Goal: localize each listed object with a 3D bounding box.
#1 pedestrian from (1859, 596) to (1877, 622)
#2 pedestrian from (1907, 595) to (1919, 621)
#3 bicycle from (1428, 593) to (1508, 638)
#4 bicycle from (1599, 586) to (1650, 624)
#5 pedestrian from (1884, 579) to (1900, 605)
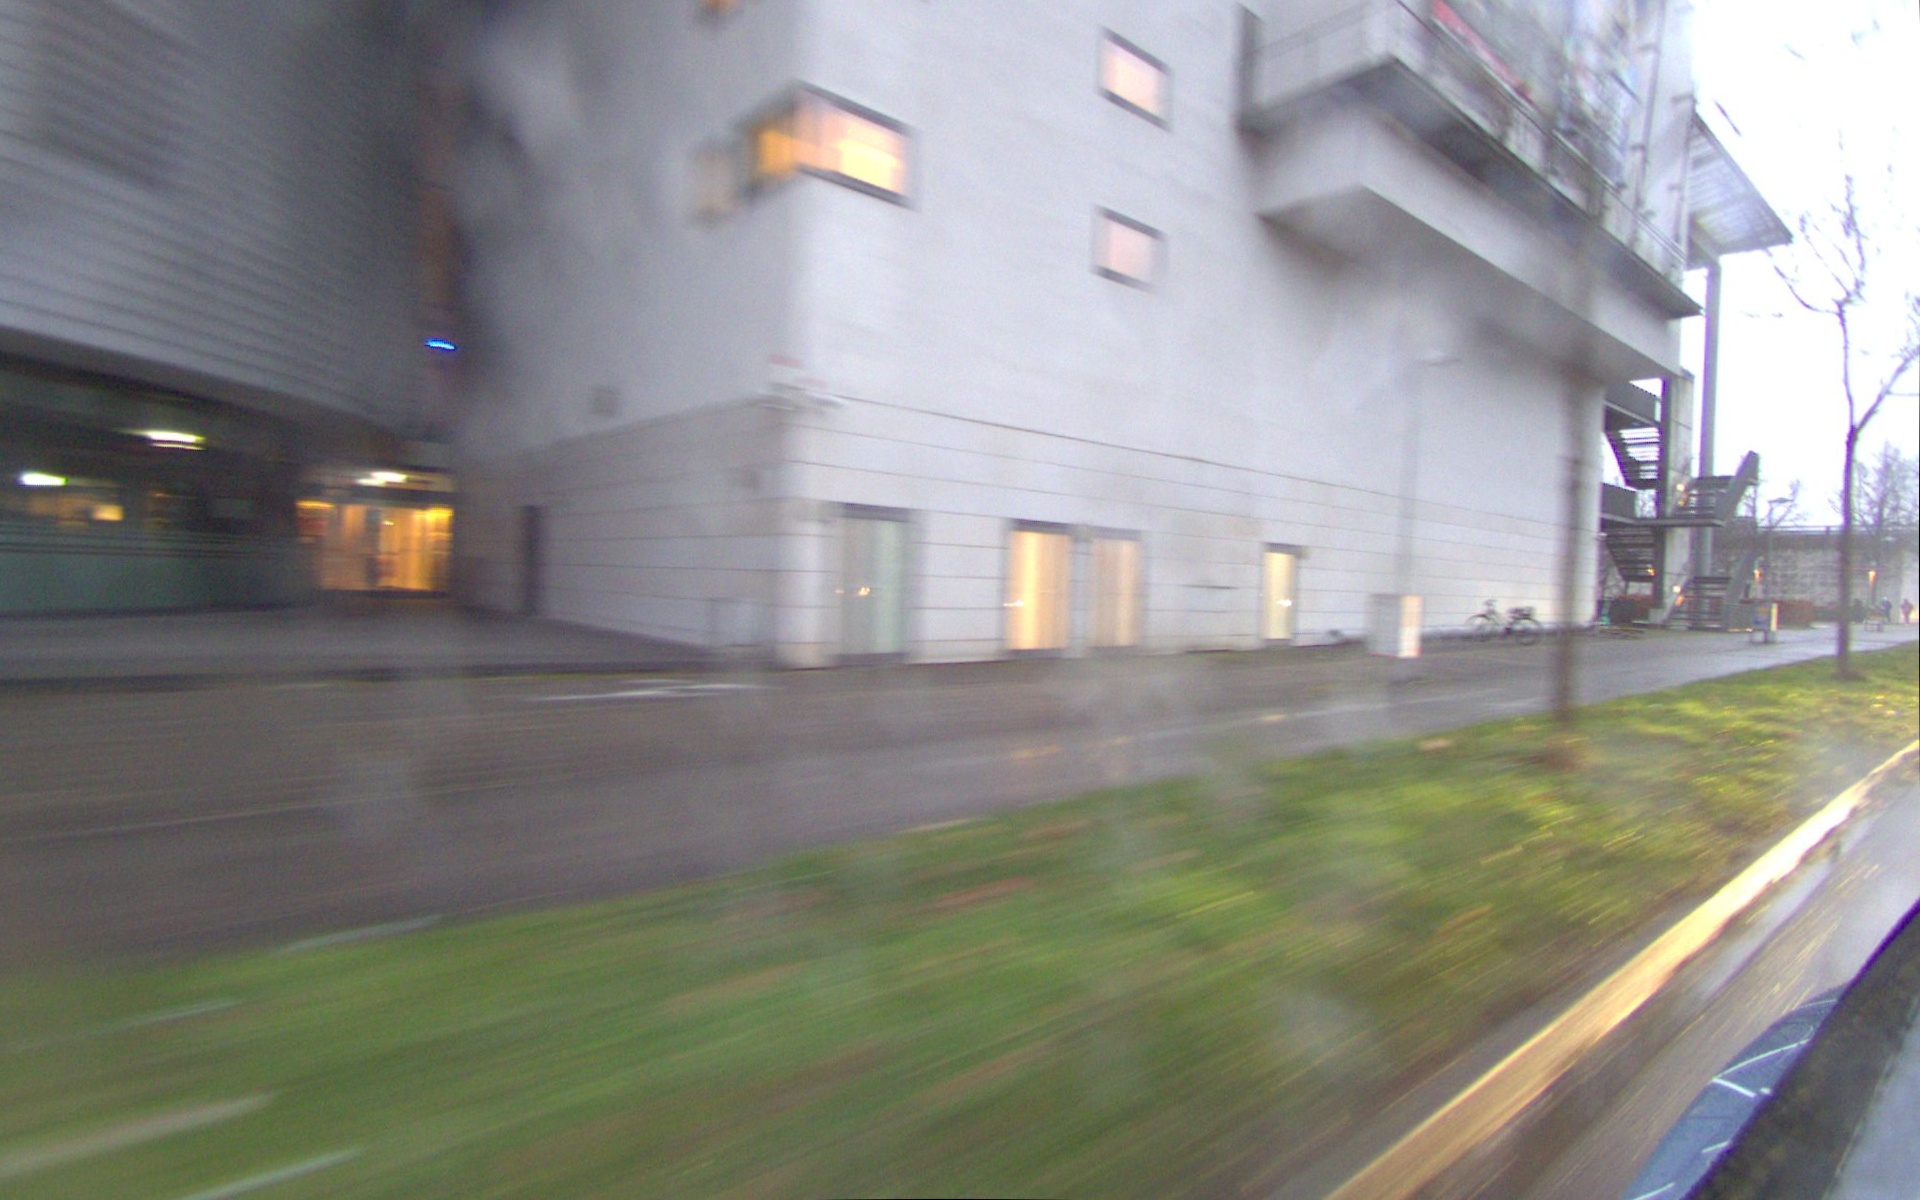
[{"bbox_3d":[57.525,0.575,64.136,0.601,1.646,0.676,0,-1,-26],"label":"pedestrian"},{"bbox_3d":[60.276,0.475,63.804,0.602,1.632,0.676,0,-1,-27],"label":"pedestrian"},{"bbox_3d":[13.179,0.396,26.321,0.390,1.065,1.811,1,2,-42],"label":"bicycle"},{"bbox_3d":[22.796,0.162,34.735,1.707,1.301,0.412,0,-1,-14],"label":"bicycle"},{"bbox_3d":[63.214,-0.547,68.641,0.602,1.800,0.676,0,-1,-27],"label":"pedestrian"}]
